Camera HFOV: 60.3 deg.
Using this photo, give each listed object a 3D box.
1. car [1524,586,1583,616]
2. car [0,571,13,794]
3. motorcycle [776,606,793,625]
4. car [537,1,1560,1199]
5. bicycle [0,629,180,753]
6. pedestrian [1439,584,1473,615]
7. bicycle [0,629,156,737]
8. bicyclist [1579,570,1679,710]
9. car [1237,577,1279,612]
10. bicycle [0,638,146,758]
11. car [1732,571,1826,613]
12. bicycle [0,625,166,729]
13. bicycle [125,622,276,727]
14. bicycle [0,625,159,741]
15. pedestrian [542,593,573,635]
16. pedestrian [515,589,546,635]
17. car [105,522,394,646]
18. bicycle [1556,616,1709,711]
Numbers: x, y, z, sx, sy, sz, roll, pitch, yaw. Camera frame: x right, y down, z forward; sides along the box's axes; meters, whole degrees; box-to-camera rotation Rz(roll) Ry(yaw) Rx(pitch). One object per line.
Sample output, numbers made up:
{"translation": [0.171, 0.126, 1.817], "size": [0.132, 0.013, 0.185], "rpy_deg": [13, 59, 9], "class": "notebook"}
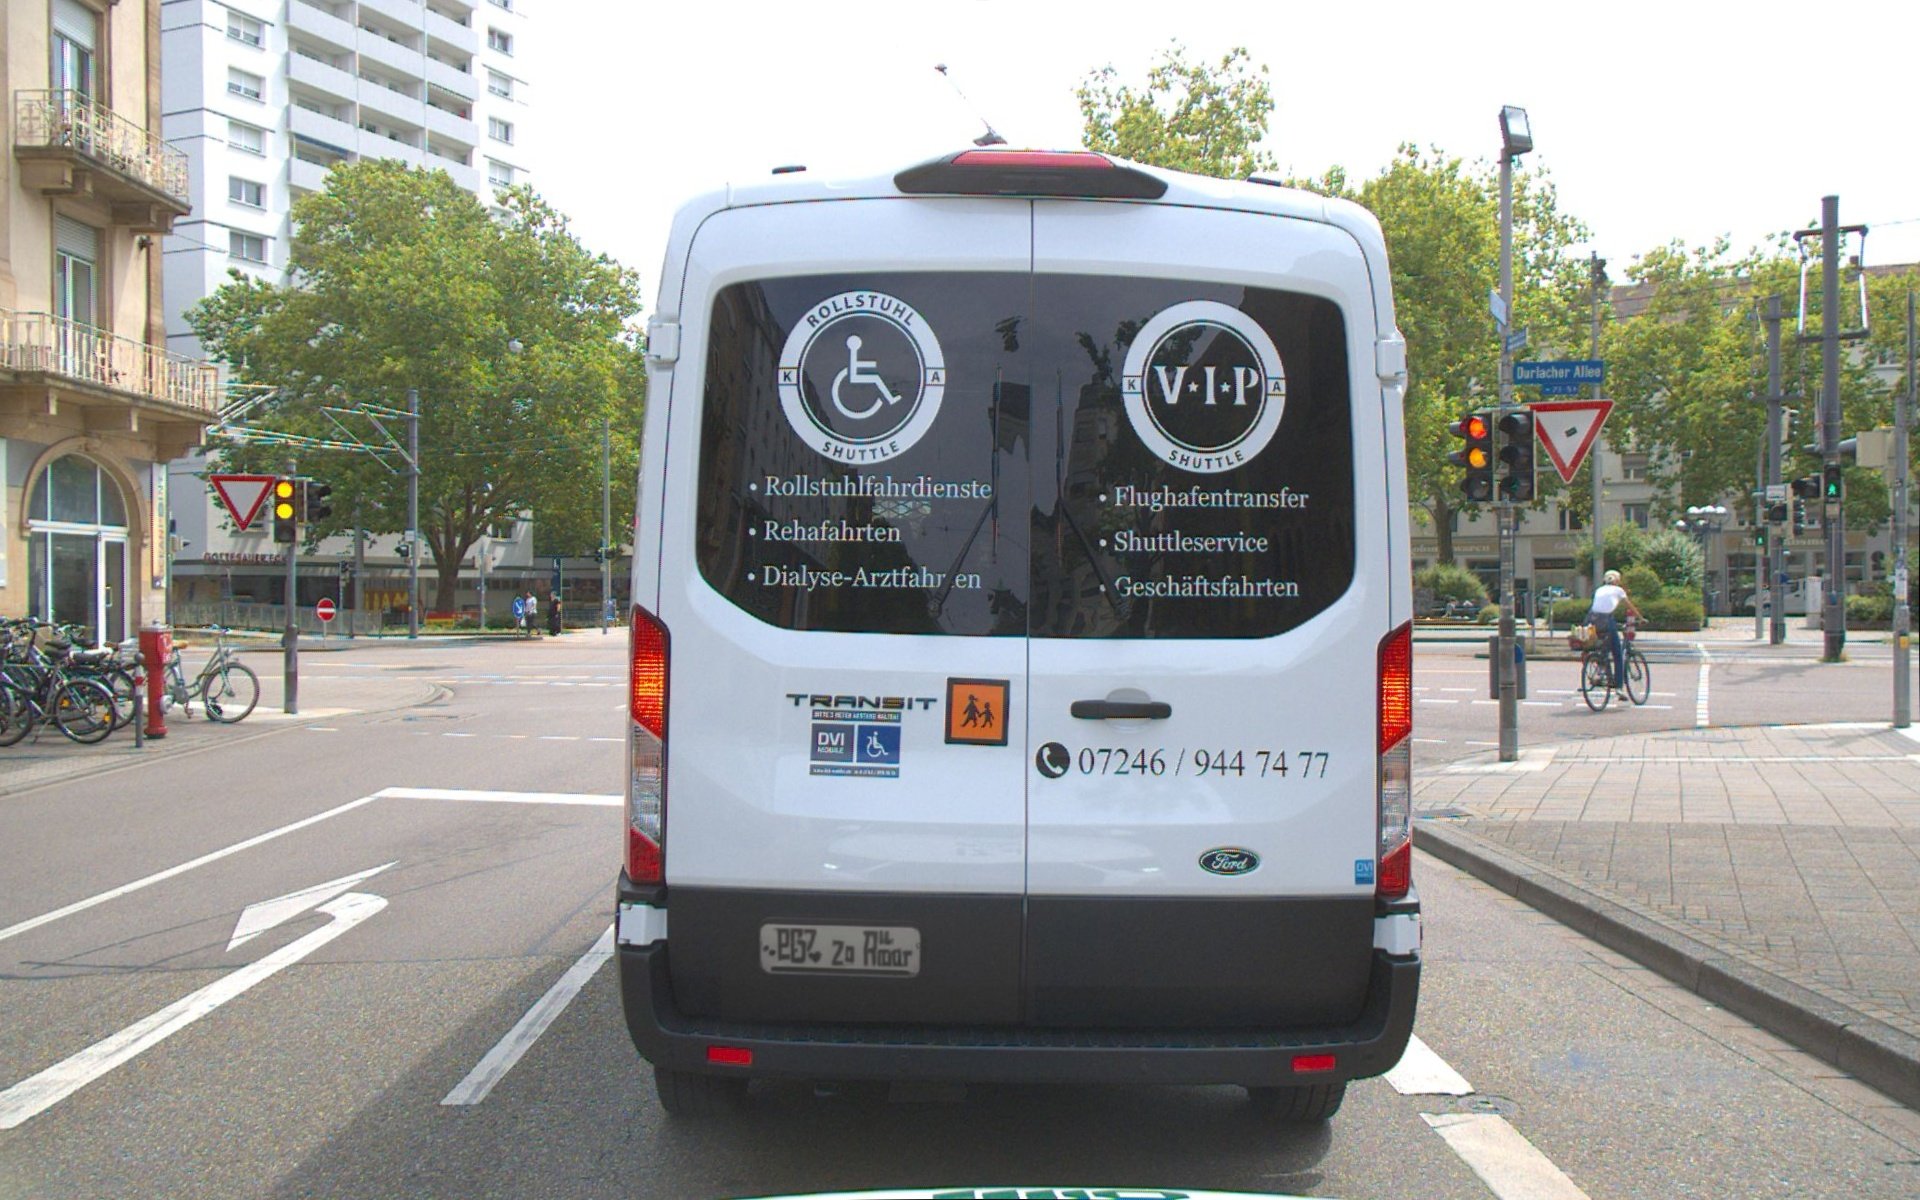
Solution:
{"translation": [31.758, 0.035, 88.671], "size": [1.951, 1.529, 4.002], "rpy_deg": [-1, 0, 4], "class": "car"}
{"translation": [-9.773, 0.688, 12.838], "size": [3.974, 1.804, 1.771], "rpy_deg": [-1, 1, -40], "class": "car"}
{"translation": [-9.569, 0.853, 90.282], "size": [0.669, 0.988, 2.323], "rpy_deg": [-1, 0, 0], "class": "motorcycle"}
{"translation": [0.115, 0.072, 5.774], "size": [2.138, 2.694, 4.627], "rpy_deg": [0, 1, -2], "class": "car"}
{"translation": [-9.086, 0.926, 17.055], "size": [1.771, 1.140, 0.594], "rpy_deg": [3, 0, 3], "class": "bicycle"}
{"translation": [21.212, -0.017, 70.734], "size": [1.068, 1.257, 1.441], "rpy_deg": [-2, -1, 4], "class": "pedestrian"}
{"translation": [-10.001, 0.915, 18.387], "size": [1.775, 1.140, 0.593], "rpy_deg": [2, 0, -9], "class": "bicycle"}
{"translation": [8.380, 0.481, 20.733], "size": [0.748, 1.713, 0.896], "rpy_deg": [-1, 0, -34], "class": "bicyclist"}
{"translation": [17.125, -0.341, 95.188], "size": [1.951, 1.964, 4.002], "rpy_deg": [-1, 0, 4], "class": "car"}
{"translation": [-9.080, 0.967, 16.380], "size": [1.771, 1.140, 0.594], "rpy_deg": [-1, 0, 6], "class": "bicycle"}
{"translation": [39.286, -0.382, 79.433], "size": [3.907, 1.916, 1.857], "rpy_deg": [-1, 0, 24], "class": "car"}
{"translation": [-10.214, 0.882, 19.081], "size": [1.775, 1.140, 0.593], "rpy_deg": [2, 0, -9], "class": "bicycle"}
{"translation": [-9.281, 0.889, 20.212], "size": [1.836, 1.187, 0.498], "rpy_deg": [2, 0, 20], "class": "bicycle"}
{"translation": [-9.670, 0.887, 17.781], "size": [1.775, 1.186, 0.593], "rpy_deg": [2, 0, -9], "class": "bicycle"}
{"translation": [-14.667, 0.506, 60.298], "size": [0.916, 1.541, 0.719], "rpy_deg": [0, 0, 41], "class": "pedestrian"}
{"translation": [-15.354, 0.420, 59.128], "size": [0.792, 1.600, 0.722], "rpy_deg": [0, 0, 32], "class": "pedestrian"}
{"translation": [-24.346, -0.520, 56.564], "size": [9.686, 3.984, 3.454], "rpy_deg": [0, 0, 24], "class": "car"}
{"translation": [8.450, 0.774, 20.763], "size": [1.948, 1.094, 0.894], "rpy_deg": [-1, 0, -36], "class": "bicycle"}
